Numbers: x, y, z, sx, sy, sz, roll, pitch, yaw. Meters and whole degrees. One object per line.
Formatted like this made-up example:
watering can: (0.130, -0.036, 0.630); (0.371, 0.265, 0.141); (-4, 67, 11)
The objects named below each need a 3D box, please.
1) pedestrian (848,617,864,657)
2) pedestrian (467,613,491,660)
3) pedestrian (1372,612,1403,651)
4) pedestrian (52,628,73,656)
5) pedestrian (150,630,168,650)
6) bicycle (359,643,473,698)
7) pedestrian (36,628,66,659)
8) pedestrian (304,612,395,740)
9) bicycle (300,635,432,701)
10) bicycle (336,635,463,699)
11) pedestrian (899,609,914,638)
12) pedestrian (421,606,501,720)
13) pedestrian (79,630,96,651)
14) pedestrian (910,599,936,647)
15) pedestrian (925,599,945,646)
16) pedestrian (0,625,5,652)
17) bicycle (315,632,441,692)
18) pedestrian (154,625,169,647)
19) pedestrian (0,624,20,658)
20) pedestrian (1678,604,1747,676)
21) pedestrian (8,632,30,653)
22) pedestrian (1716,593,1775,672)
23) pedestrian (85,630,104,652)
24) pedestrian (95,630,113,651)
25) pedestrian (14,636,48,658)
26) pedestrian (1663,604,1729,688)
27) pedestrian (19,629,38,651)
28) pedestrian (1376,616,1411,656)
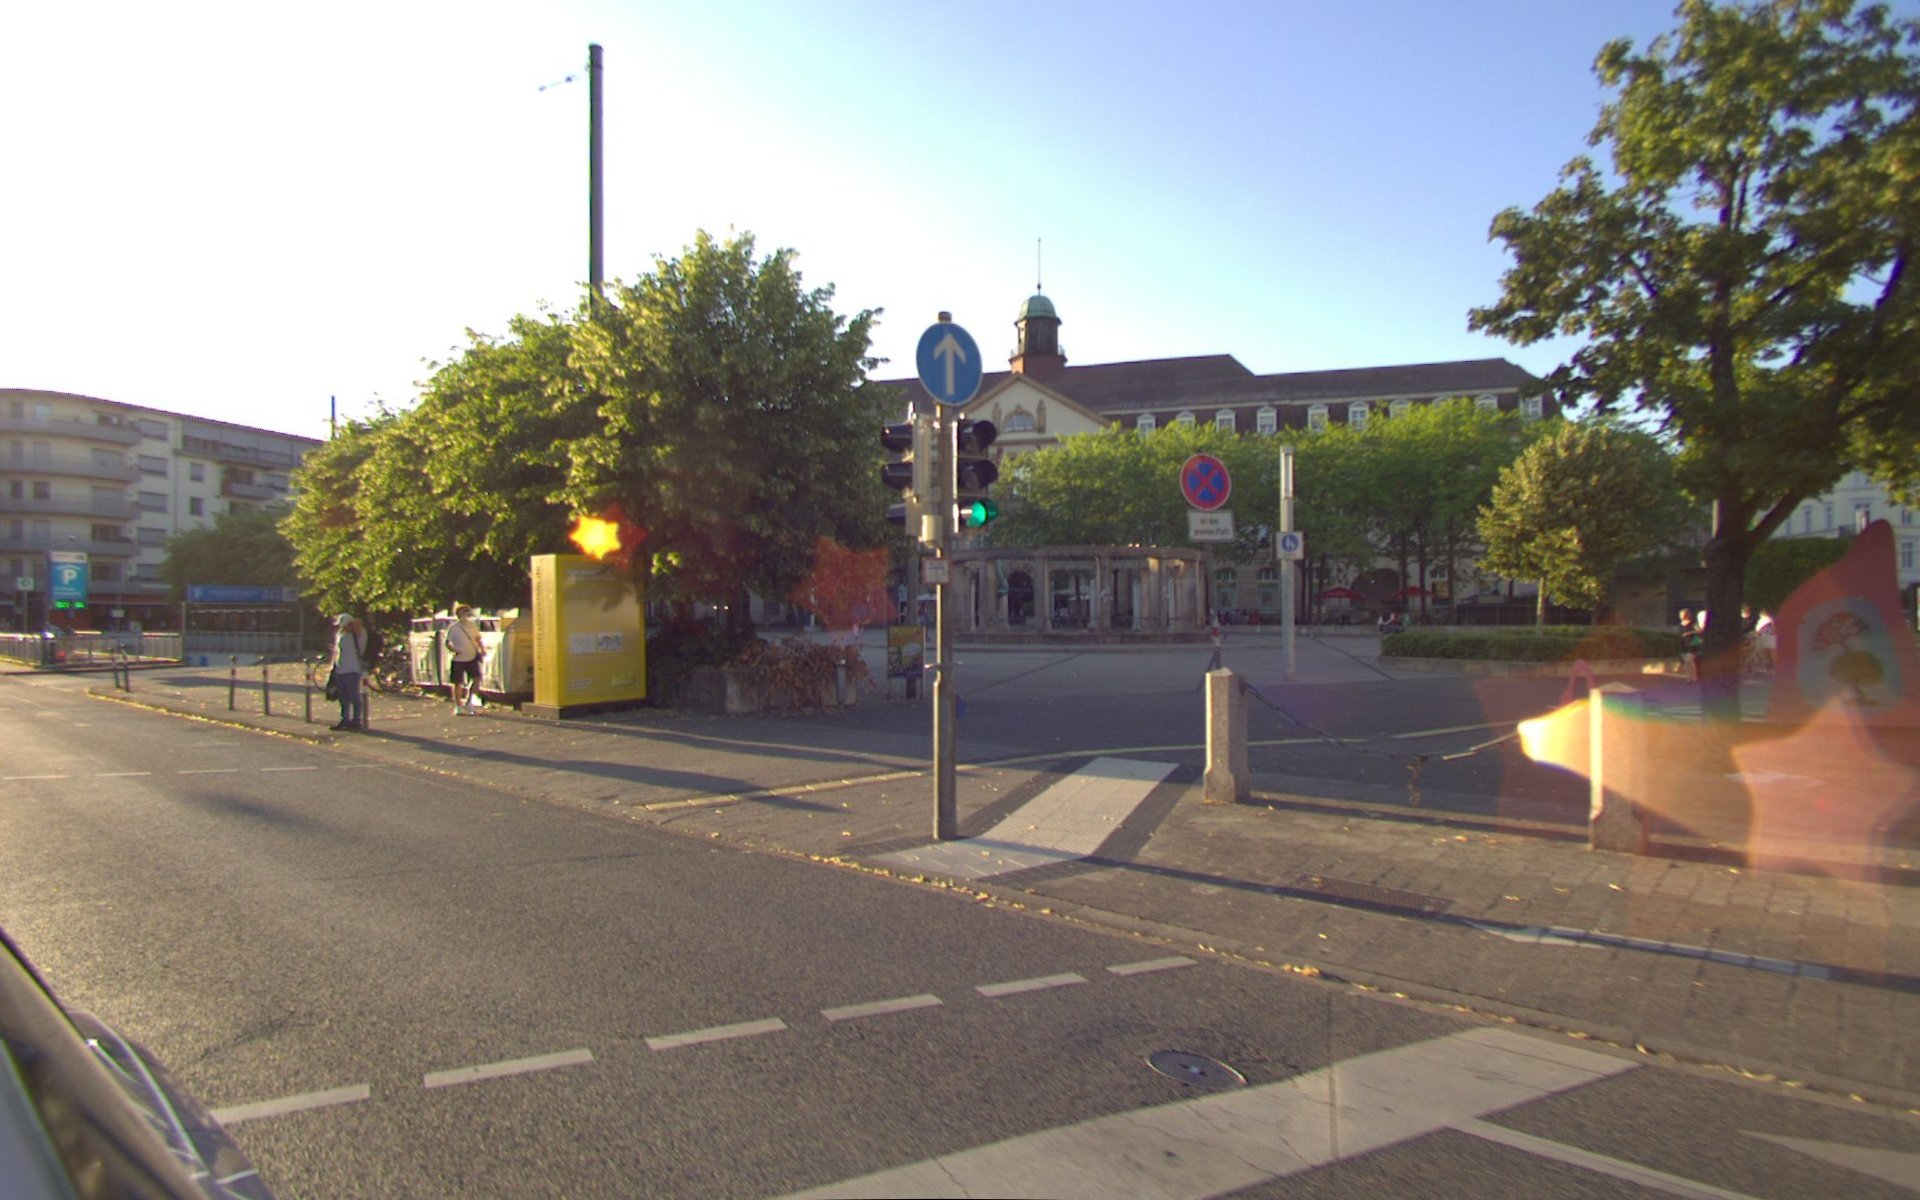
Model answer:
pedestrian: (-4.285, 1.506, 41.643); (0.519, 1.623, 0.804); (-1, -1, 2)
pedestrian: (-21.257, 1.604, 44.721); (0.899, 2.029, 0.922); (0, -1, -27)
pedestrian: (16.864, 1.240, 39.968); (0.938, 1.512, 0.842); (0, -1, 10)
pedestrian: (-61.329, 2.851, 69.184); (0.709, 1.891, 0.846); (-2, -3, 21)
pedestrian: (-62.883, 3.125, 79.488); (0.840, 1.548, 0.715); (-1, -2, -6)
bicycle: (-11.454, 1.460, 21.370); (0.635, 0.978, 2.023); (-2, 0, 38)
pedestrian: (-53.266, 2.549, 59.303); (0.969, 1.807, 0.892); (-1, -2, -11)
pedestrian: (-8.643, 1.043, 14.343); (0.712, 1.733, 0.876); (-1, -1, 29)
bicycle: (-12.746, 1.426, 21.806); (0.517, 1.246, 2.407); (-2, 0, 38)
bicycle: (-11.958, 1.405, 21.683); (0.462, 1.246, 2.407); (-2, -1, 38)
pedestrian: (-3.630, 1.625, 68.944); (0.727, 1.963, 0.797); (-1, -2, 29)
pedestrian: (-7.859, 0.971, 15.954); (0.755, 1.733, 0.864); (-1, -1, 24)
pedestrian: (-64.331, 3.000, 74.606); (0.669, 1.547, 0.652); (2, -2, 14)
pedestrian: (-1.534, 0.940, 41.820); (0.792, 1.963, 0.731); (1, -2, -42)
pedestrian: (-1.037, 0.952, 42.480); (0.793, 1.963, 0.730); (-1, -2, 0)
pedestrian: (-64.838, 2.590, 67.954); (0.806, 1.807, 0.732); (-2, -3, 19)
bicycle: (-13.400, 1.404, 23.374); (2.468, 1.294, 0.818); (0, -1, -29)
pedestrian: (-64.175, 2.915, 81.321); (0.712, 1.734, 0.665); (-1, -2, 15)
pedestrian: (-54.046, 2.328, 57.290); (0.977, 1.898, 0.884); (-2, -2, 19)
pedestrian: (19.220, 1.007, 25.864); (0.698, 1.791, 1.197); (0, -2, -15)
pedestrian: (-64.821, 2.912, 69.733); (0.758, 1.392, 0.841); (1, -1, -9)
pedestrian: (20.691, 0.849, 26.649); (1.043, 2.029, 0.961); (0, -1, -38)
pedestrian: (-63.490, 2.977, 74.245); (0.707, 1.547, 0.756); (3, -1, 13)
pedestrian: (-63.436, 3.007, 75.029); (0.644, 1.539, 0.697); (3, -1, 12)
pedestrian: (-65.165, 3.270, 70.990); (0.711, 0.693, 1.526); (2, 37, 27)
pedestrian: (15.997, 0.991, 22.013); (0.881, 1.791, 0.711); (0, -2, -11)
pedestrian: (-65.761, 2.847, 71.452); (0.702, 1.548, 0.855); (-1, -2, -18)
pedestrian: (16.688, 1.372, 38.992); (0.978, 1.512, 0.978); (0, -1, 9)
